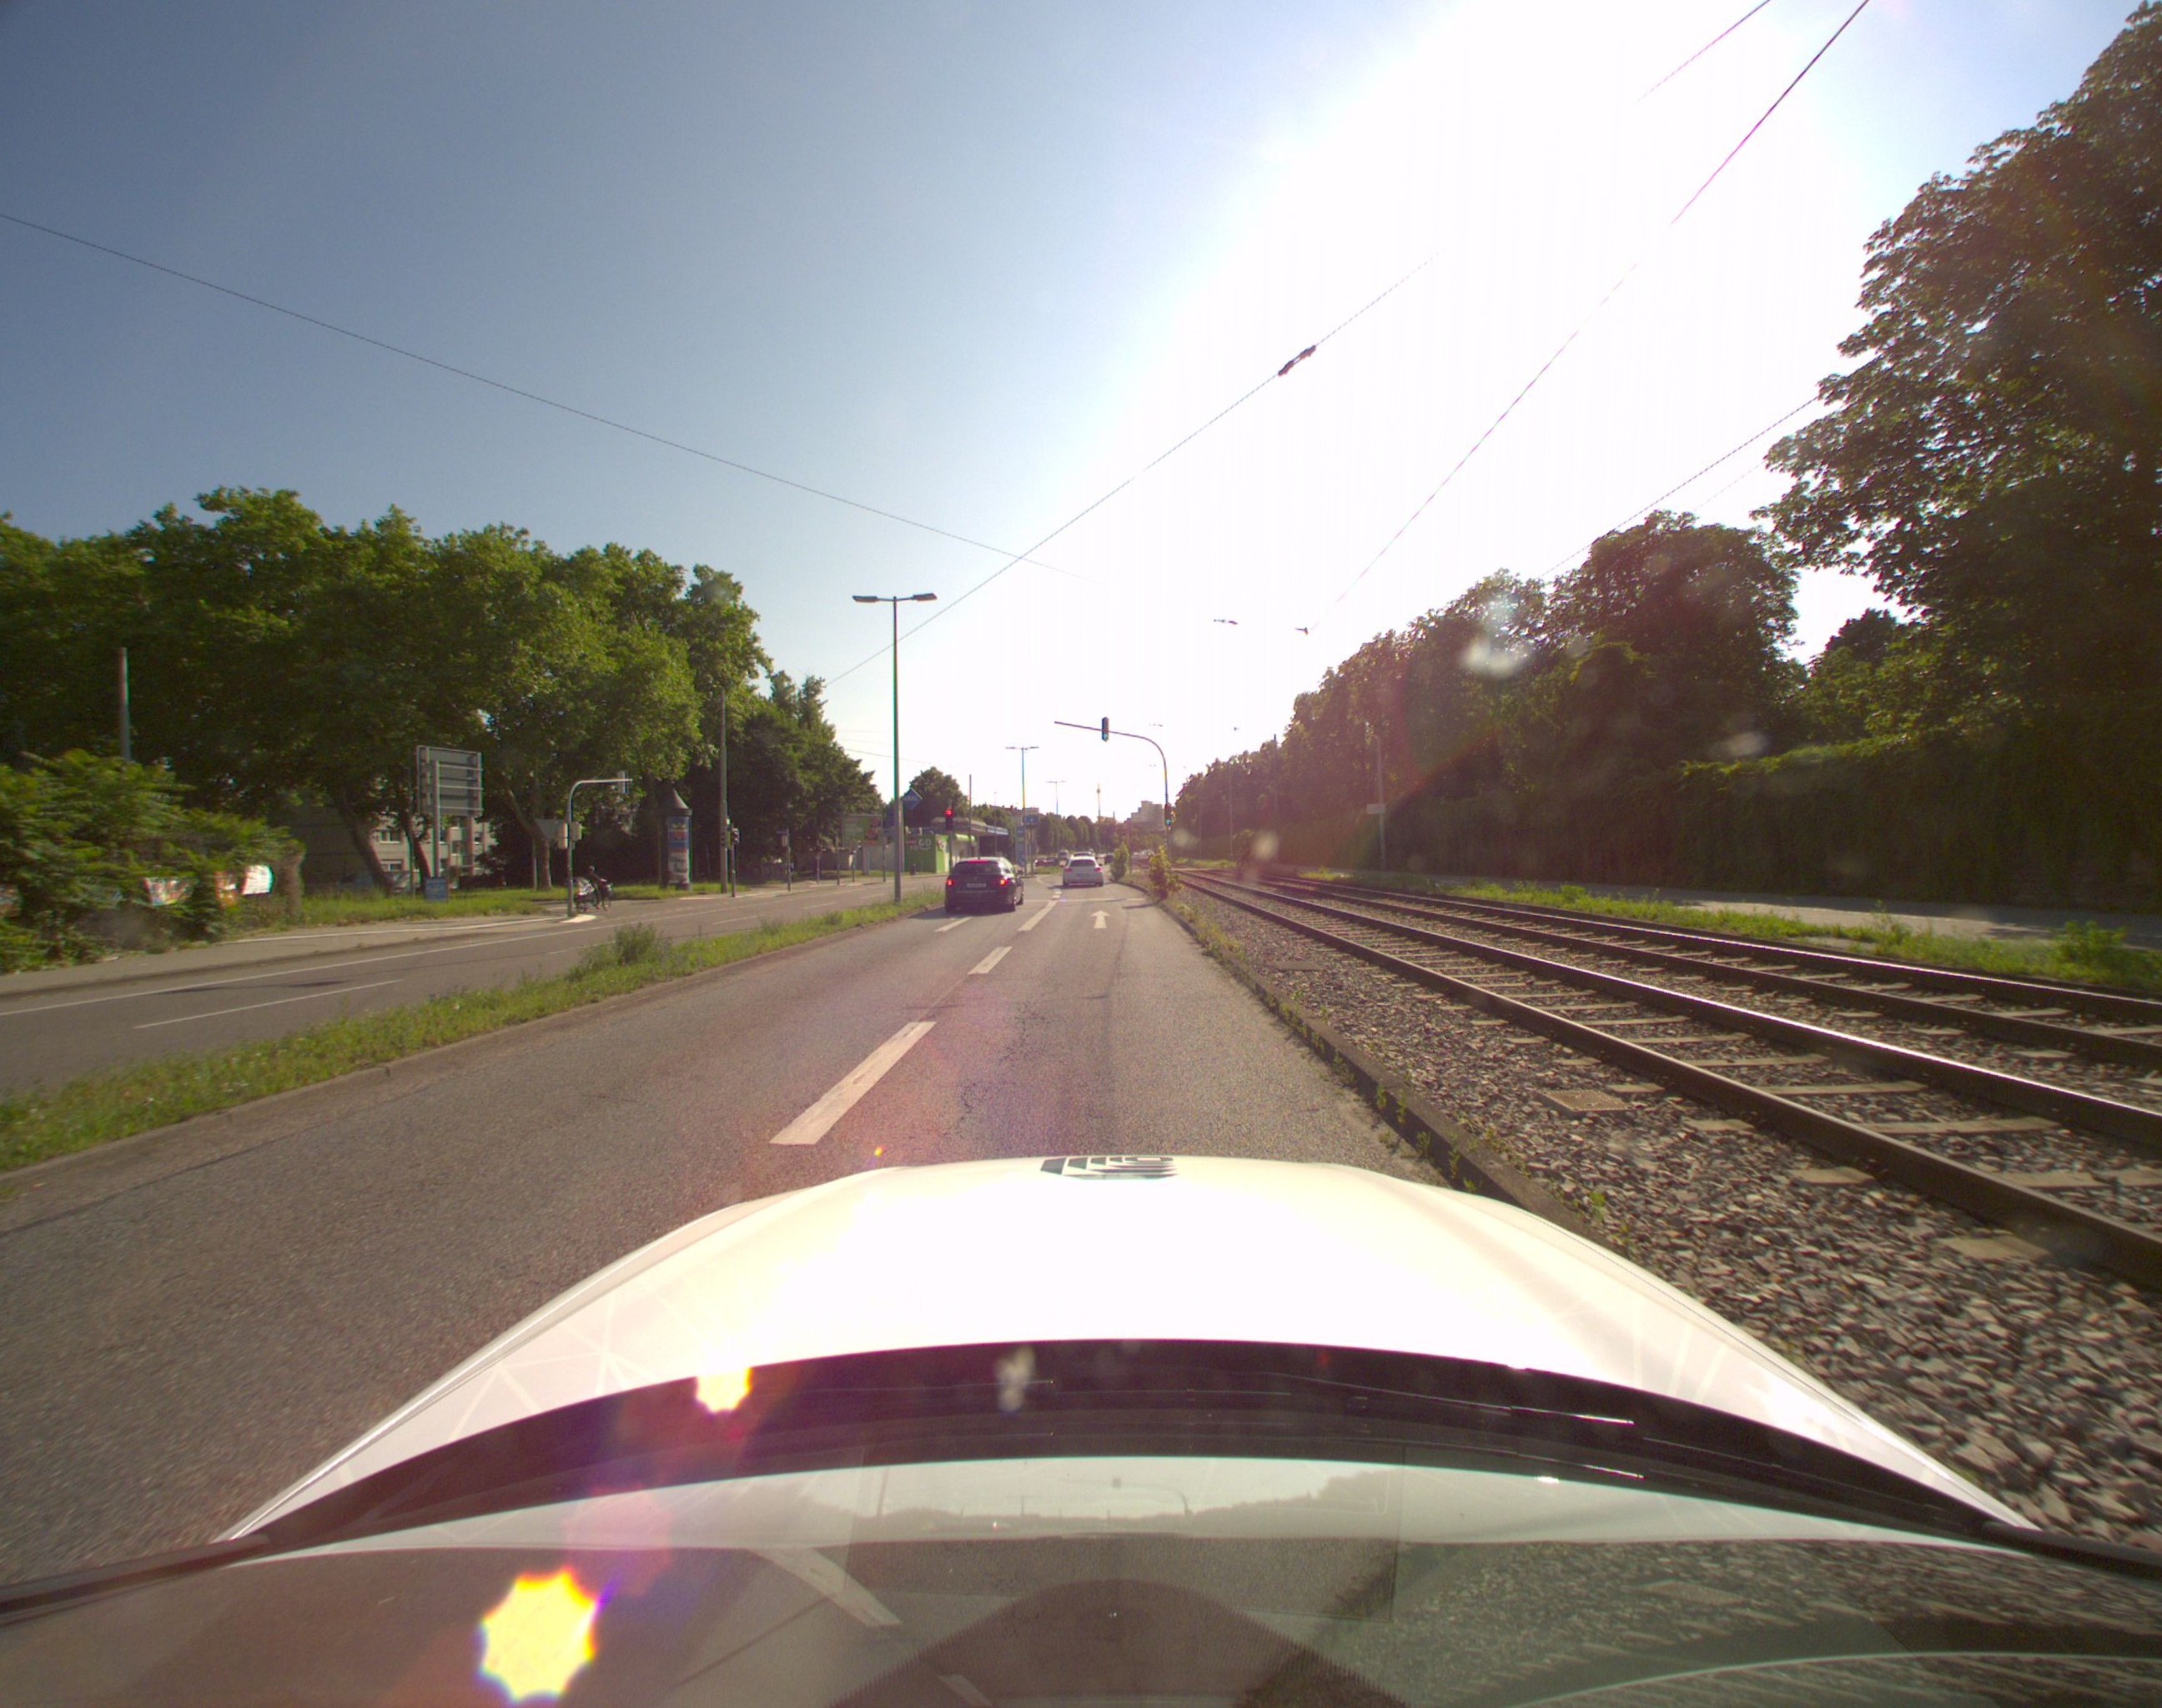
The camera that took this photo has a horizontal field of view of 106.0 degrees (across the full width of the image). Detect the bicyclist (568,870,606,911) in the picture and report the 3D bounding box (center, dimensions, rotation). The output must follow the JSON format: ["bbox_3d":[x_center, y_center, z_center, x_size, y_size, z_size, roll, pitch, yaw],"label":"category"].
[{"bbox_3d":[-18.416,1.354,30.366,0.658,1.452,1.052,-2,0,5],"label":"bicyclist"}]

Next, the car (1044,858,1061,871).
[{"bbox_3d":[-3.446,1.258,99.162,1.646,1.395,4.136,-2,0,2],"label":"car"}]

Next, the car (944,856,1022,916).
[{"bbox_3d":[-2.656,0.819,23.032,1.755,1.485,4.642,0,0,-2],"label":"car"}]

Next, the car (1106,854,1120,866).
[{"bbox_3d":[4.259,0.799,108.167,1.741,1.485,3.604,0,0,3],"label":"car"}]

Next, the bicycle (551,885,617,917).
[{"bbox_3d":[-18.410,1.717,30.243,0.658,1.049,2.584,-2,0,5],"label":"bicycle"}]

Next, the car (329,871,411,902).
[{"bbox_3d":[-49.141,2.217,56.335,4.363,1.963,1.828,-2,0,8],"label":"car"}]

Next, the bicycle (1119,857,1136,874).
[{"bbox_3d":[3.248,0.797,56.673,0.638,1.154,1.946,-2,0,18],"label":"bicycle"}]

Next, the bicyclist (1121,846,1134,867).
[{"bbox_3d":[3.236,0.183,56.721,0.638,1.416,1.017,-2,0,18],"label":"bicyclist"}]

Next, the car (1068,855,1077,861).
[{"bbox_3d":[-2.260,1.087,213.554,1.984,1.416,3.848,-2,0,4],"label":"car"}]

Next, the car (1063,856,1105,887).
[{"bbox_3d":[0.179,0.798,37.759,1.774,1.356,3.603,0,0,2],"label":"car"}]

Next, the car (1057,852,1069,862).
[{"bbox_3d":[-4.151,0.687,186.533,1.984,2.376,4.545,-2,0,6],"label":"car"}]

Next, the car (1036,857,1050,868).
[{"bbox_3d":[-5.262,1.175,114.142,1.567,1.417,3.336,-2,0,3],"label":"car"}]

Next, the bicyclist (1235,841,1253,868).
[{"bbox_3d":[12.249,0.050,61.131,1.023,1.993,0.953,-2,0,26],"label":"bicyclist"}]

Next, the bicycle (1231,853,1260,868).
[{"bbox_3d":[12.332,0.492,61.096,1.903,1.115,0.953,-2,0,26],"label":"bicycle"}]
